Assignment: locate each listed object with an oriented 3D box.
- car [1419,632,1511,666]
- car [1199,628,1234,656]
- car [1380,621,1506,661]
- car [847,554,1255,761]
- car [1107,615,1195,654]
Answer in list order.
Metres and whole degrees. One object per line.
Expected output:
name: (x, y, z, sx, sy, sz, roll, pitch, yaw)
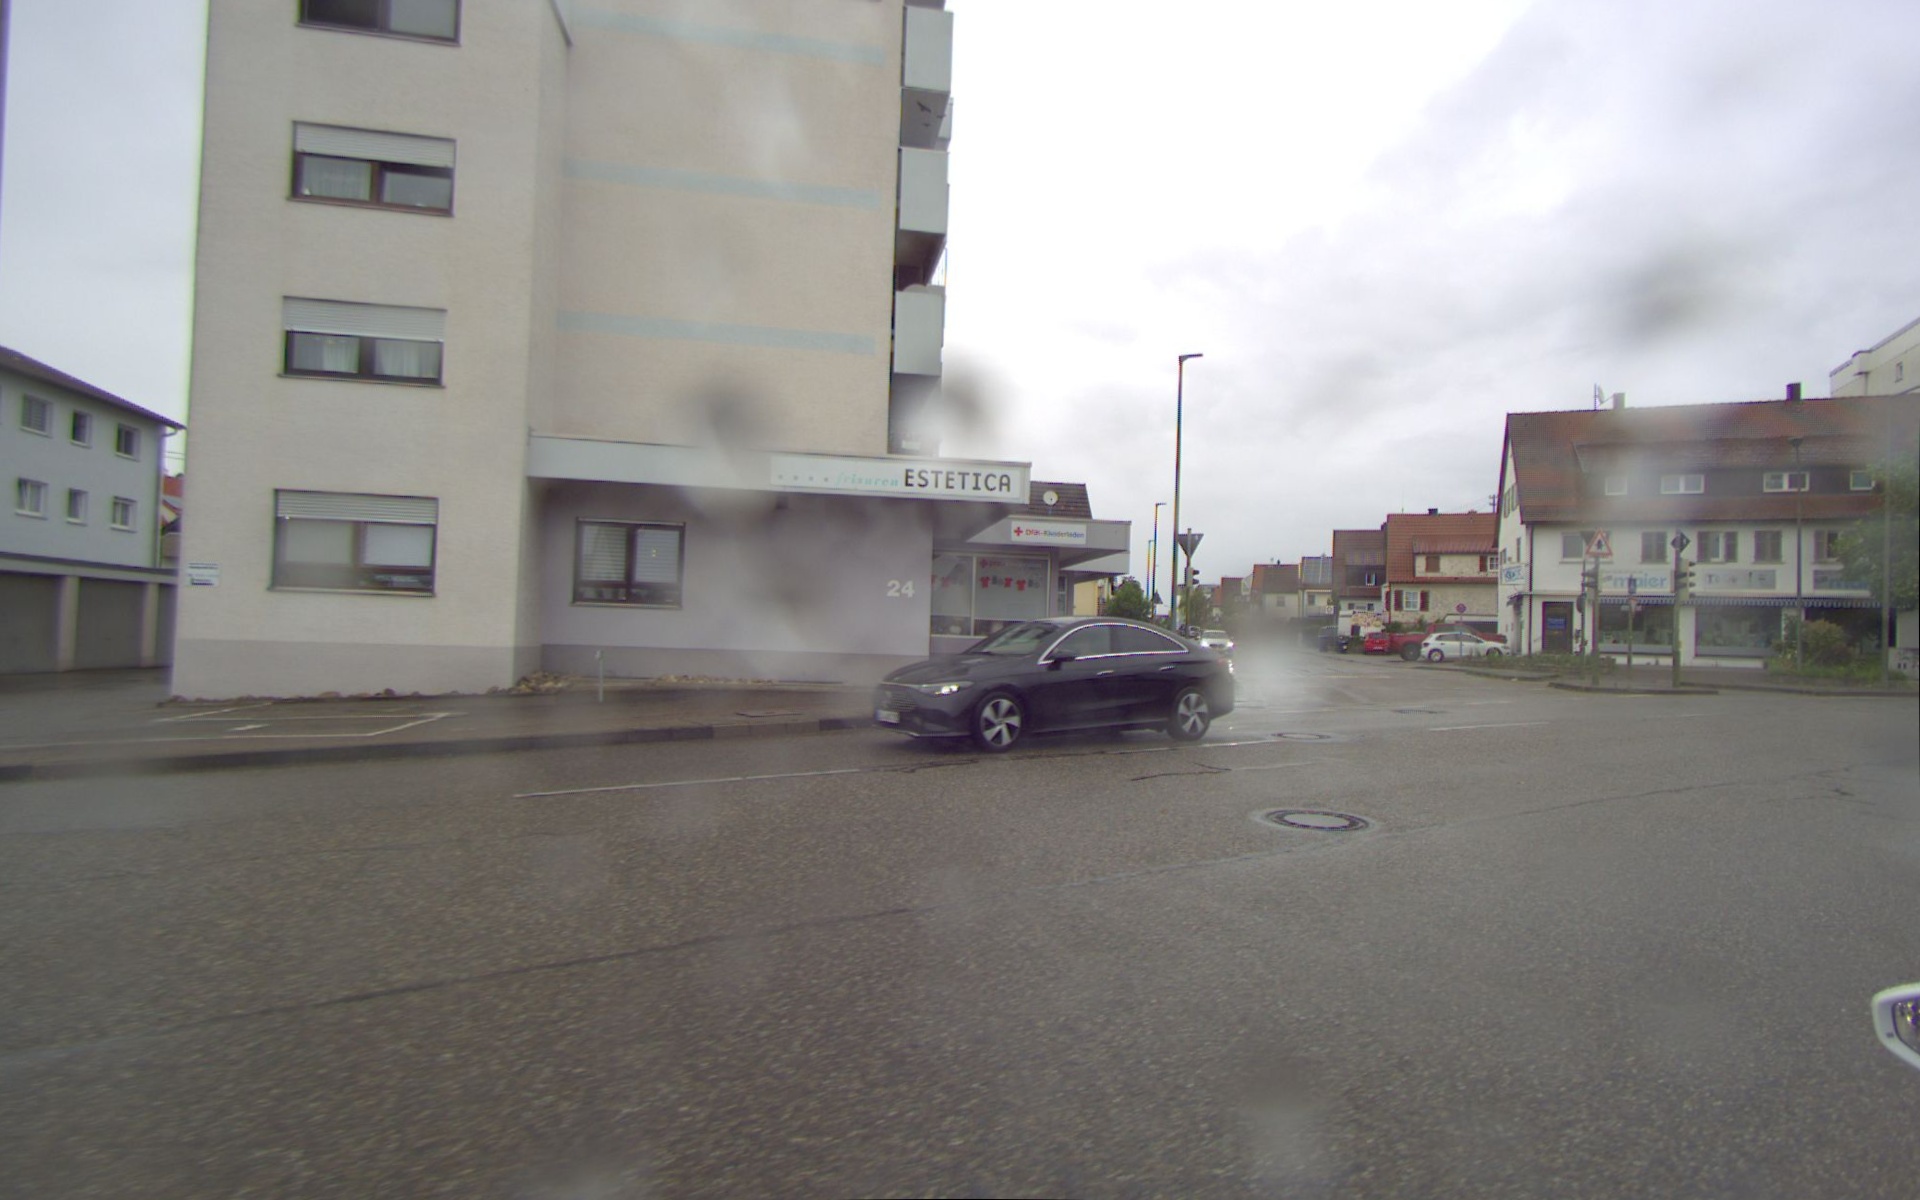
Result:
car: (24.788, 2.376, 49.414, 3.925, 1.546, 1.998, 1, -1, 26)
car: (14.113, 2.298, 55.481, 1.797, 1.453, 4.290, 1, -1, 13)
car: (25.044, 2.101, 52.341, 5.737, 1.866, 2.000, 1, -1, 20)
car: (1.164, 0.635, 11.989, 4.600, 2.040, 1.983, 2, -1, -32)
car: (9.295, 1.653, 48.901, 3.849, 1.756, 1.831, 1, -1, 30)
